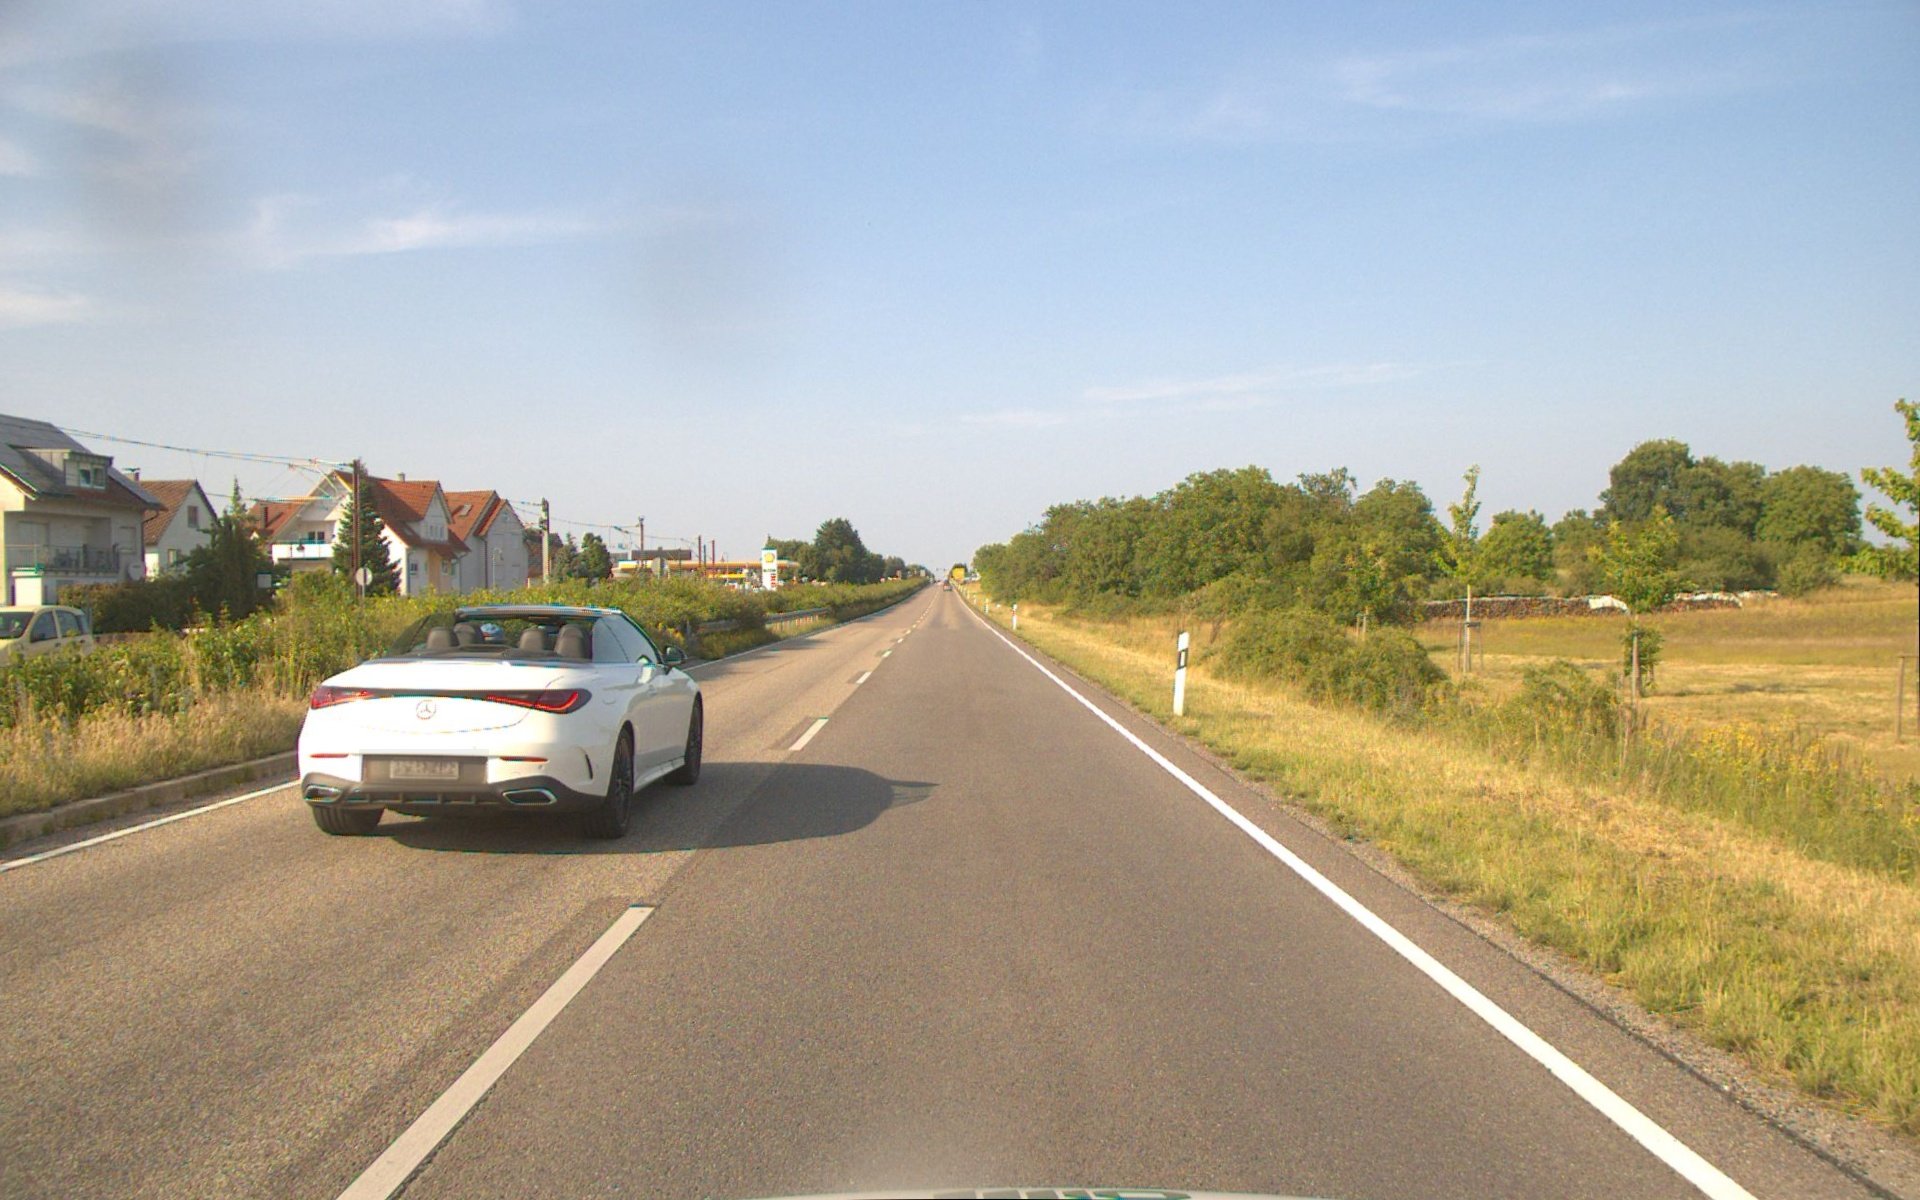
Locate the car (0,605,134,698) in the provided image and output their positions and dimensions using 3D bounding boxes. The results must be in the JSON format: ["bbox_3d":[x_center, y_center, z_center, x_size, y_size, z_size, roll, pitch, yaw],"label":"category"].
[{"bbox_3d":[-16.221,0.871,28.657,1.626,1.456,4.325,-2,0,-1],"label":"car"}]

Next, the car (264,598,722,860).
[{"bbox_3d":[-2.856,0.689,11.339,1.735,1.361,4.950,1,0,0],"label":"car"}]
